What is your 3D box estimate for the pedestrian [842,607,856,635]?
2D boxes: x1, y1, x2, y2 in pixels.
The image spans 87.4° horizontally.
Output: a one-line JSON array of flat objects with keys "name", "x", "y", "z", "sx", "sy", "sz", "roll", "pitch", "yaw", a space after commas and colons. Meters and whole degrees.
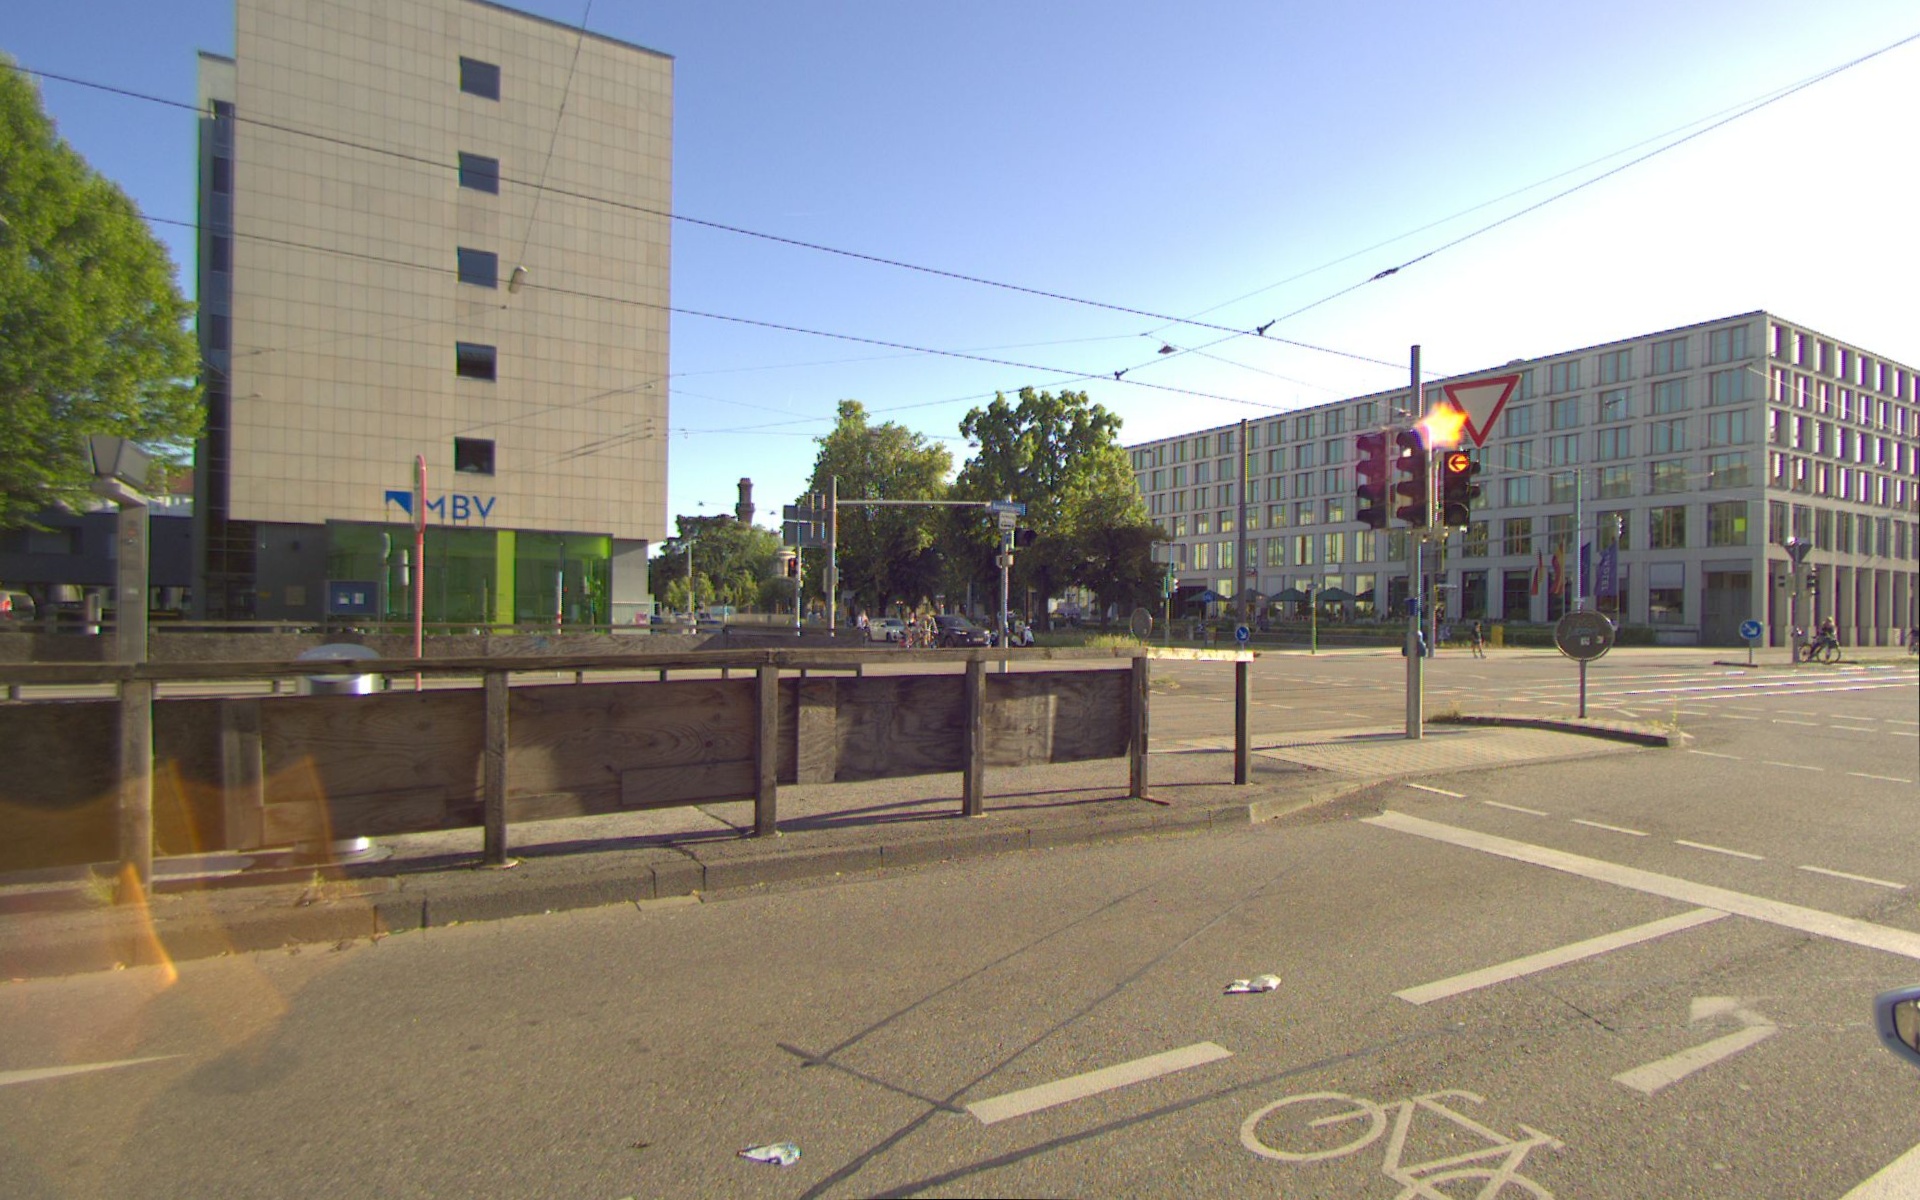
[{"name": "pedestrian", "x": -8.159, "y": 1.557, "z": 74.134, "sx": 0.772, "sy": 2.040, "sz": 0.747, "roll": 1, "pitch": -1, "yaw": -31}]

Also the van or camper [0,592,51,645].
[{"name": "van or camper", "x": -27.898, "y": 0.432, "z": 27.565, "sx": 3.954, "sy": 1.425, "sz": 1.954, "roll": 4, "pitch": -3, "yaw": -30}]

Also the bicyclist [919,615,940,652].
[{"name": "bicyclist", "x": -1.281, "y": 1.399, "z": 42.413, "sx": 0.576, "sy": 1.563, "sz": 0.890, "roll": 1, "pitch": -1, "yaw": -27}]

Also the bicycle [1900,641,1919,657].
[{"name": "bicycle", "x": 50.963, "y": 2.610, "z": 53.836, "sx": 1.142, "sy": 0.850, "sz": 0.492, "roll": 1, "pitch": -1, "yaw": -28}]

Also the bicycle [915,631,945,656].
[{"name": "bicycle", "x": -1.275, "y": 1.833, "z": 42.378, "sx": 0.576, "sy": 1.032, "sz": 1.666, "roll": 1, "pitch": -1, "yaw": -27}]

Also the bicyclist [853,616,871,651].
[{"name": "bicyclist", "x": -4.726, "y": 1.618, "z": 48.597, "sx": 0.576, "sy": 1.658, "sz": 0.890, "roll": 1, "pitch": -1, "yaw": -27}]

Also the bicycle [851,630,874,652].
[{"name": "bicycle", "x": -4.715, "y": 1.959, "z": 48.551, "sx": 0.576, "sy": 1.032, "sz": 1.666, "roll": 1, "pitch": -1, "yaw": -27}]

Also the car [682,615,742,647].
[{"name": "car", "x": -12.628, "y": 1.555, "z": 50.947, "sx": 1.975, "sy": 1.472, "sz": 4.179, "roll": 2, "pitch": 0, "yaw": -28}]

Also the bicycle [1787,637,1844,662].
[{"name": "bicycle", "x": 31.038, "y": 1.787, "z": 36.451, "sx": 0.562, "sy": 0.834, "sz": 1.718, "roll": 1, "pitch": -1, "yaw": -2}]

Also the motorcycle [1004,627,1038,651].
[{"name": "motorcycle", "x": 2.840, "y": 1.821, "z": 46.952, "sx": 0.624, "sy": 1.030, "sz": 1.972, "roll": -3, "pitch": 1, "yaw": -28}]

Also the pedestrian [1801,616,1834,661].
[{"name": "pedestrian", "x": 31.046, "y": 1.390, "z": 36.362, "sx": 0.562, "sy": 1.616, "sz": 0.744, "roll": 1, "pitch": -1, "yaw": -3}]

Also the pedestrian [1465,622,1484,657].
[{"name": "pedestrian", "x": 24.945, "y": 1.917, "z": 48.698, "sx": 0.597, "sy": 1.703, "sz": 0.602, "roll": 1, "pitch": -1, "yaw": -22}]

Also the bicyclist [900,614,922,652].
[{"name": "bicyclist", "x": -2.041, "y": 1.368, "z": 42.013, "sx": 0.577, "sy": 1.563, "sz": 0.833, "roll": 1, "pitch": -2, "yaw": -32}]

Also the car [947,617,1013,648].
[{"name": "car", "x": 1.012, "y": 1.658, "z": 52.204, "sx": 1.674, "sy": 1.506, "sz": 3.719, "roll": 1, "pitch": -1, "yaw": -33}]

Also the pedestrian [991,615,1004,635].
[{"name": "pedestrian", "x": 3.230, "y": 2.189, "z": 87.181, "sx": 0.858, "sy": 1.738, "sz": 0.737, "roll": 2, "pitch": 0, "yaw": -26}]

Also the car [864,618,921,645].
[{"name": "car", "x": -4.079, "y": 1.872, "z": 60.258, "sx": 1.975, "sy": 1.537, "sz": 3.971, "roll": 1, "pitch": -1, "yaw": -28}]

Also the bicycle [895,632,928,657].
[{"name": "bicycle", "x": -2.046, "y": 1.847, "z": 42.017, "sx": 0.577, "sy": 1.032, "sz": 1.806, "roll": 1, "pitch": -3, "yaw": -31}]

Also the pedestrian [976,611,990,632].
[{"name": "pedestrian", "x": 1.942, "y": 1.805, "z": 84.909, "sx": 0.858, "sy": 1.738, "sz": 0.737, "roll": 2, "pitch": 0, "yaw": -26}]

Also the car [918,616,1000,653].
[{"name": "car", "x": -0.091, "y": 1.513, "z": 44.436, "sx": 1.925, "sy": 1.561, "sz": 3.969, "roll": 2, "pitch": -2, "yaw": -29}]

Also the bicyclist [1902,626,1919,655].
[{"name": "bicyclist", "x": 50.983, "y": 2.154, "z": 53.851, "sx": 0.658, "sy": 1.518, "sz": 0.492, "roll": 1, "pitch": -1, "yaw": -28}]

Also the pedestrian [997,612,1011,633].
[{"name": "pedestrian", "x": 3.689, "y": 1.855, "z": 84.378, "sx": 0.858, "sy": 1.738, "sz": 0.737, "roll": 2, "pitch": 0, "yaw": -26}]

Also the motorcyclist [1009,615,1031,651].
[{"name": "motorcyclist", "x": 2.799, "y": 1.539, "z": 46.983, "sx": 0.624, "sy": 1.601, "sz": 0.812, "roll": -3, "pitch": 1, "yaw": -28}]
